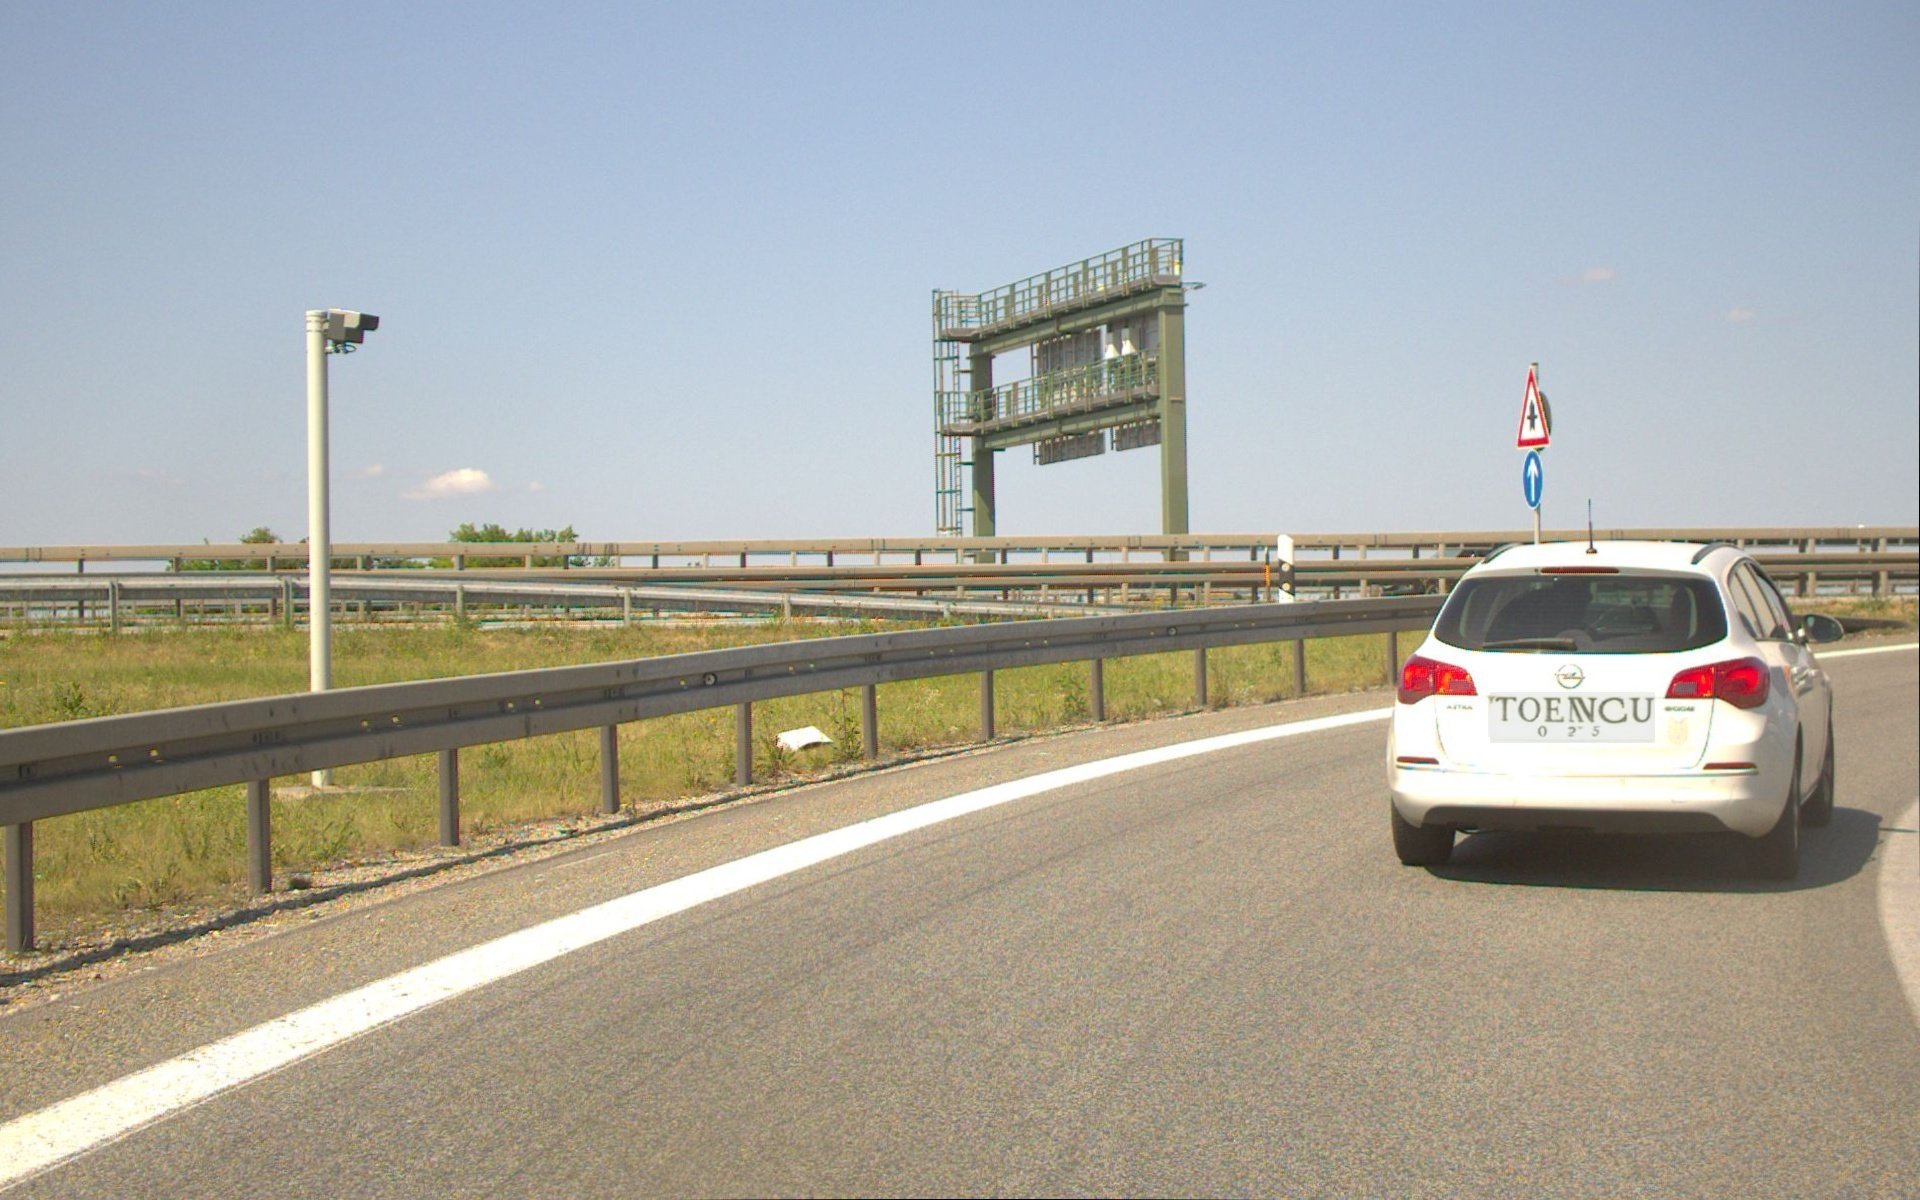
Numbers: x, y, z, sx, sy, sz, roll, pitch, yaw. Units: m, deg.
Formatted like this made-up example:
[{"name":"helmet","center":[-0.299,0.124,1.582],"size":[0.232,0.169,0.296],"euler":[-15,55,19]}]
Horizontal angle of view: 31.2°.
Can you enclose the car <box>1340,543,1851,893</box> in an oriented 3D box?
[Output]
[{"name":"car","center":[3.184,0.459,16.501],"size":[1.856,1.438,4.368],"euler":[0,1,18]}]
